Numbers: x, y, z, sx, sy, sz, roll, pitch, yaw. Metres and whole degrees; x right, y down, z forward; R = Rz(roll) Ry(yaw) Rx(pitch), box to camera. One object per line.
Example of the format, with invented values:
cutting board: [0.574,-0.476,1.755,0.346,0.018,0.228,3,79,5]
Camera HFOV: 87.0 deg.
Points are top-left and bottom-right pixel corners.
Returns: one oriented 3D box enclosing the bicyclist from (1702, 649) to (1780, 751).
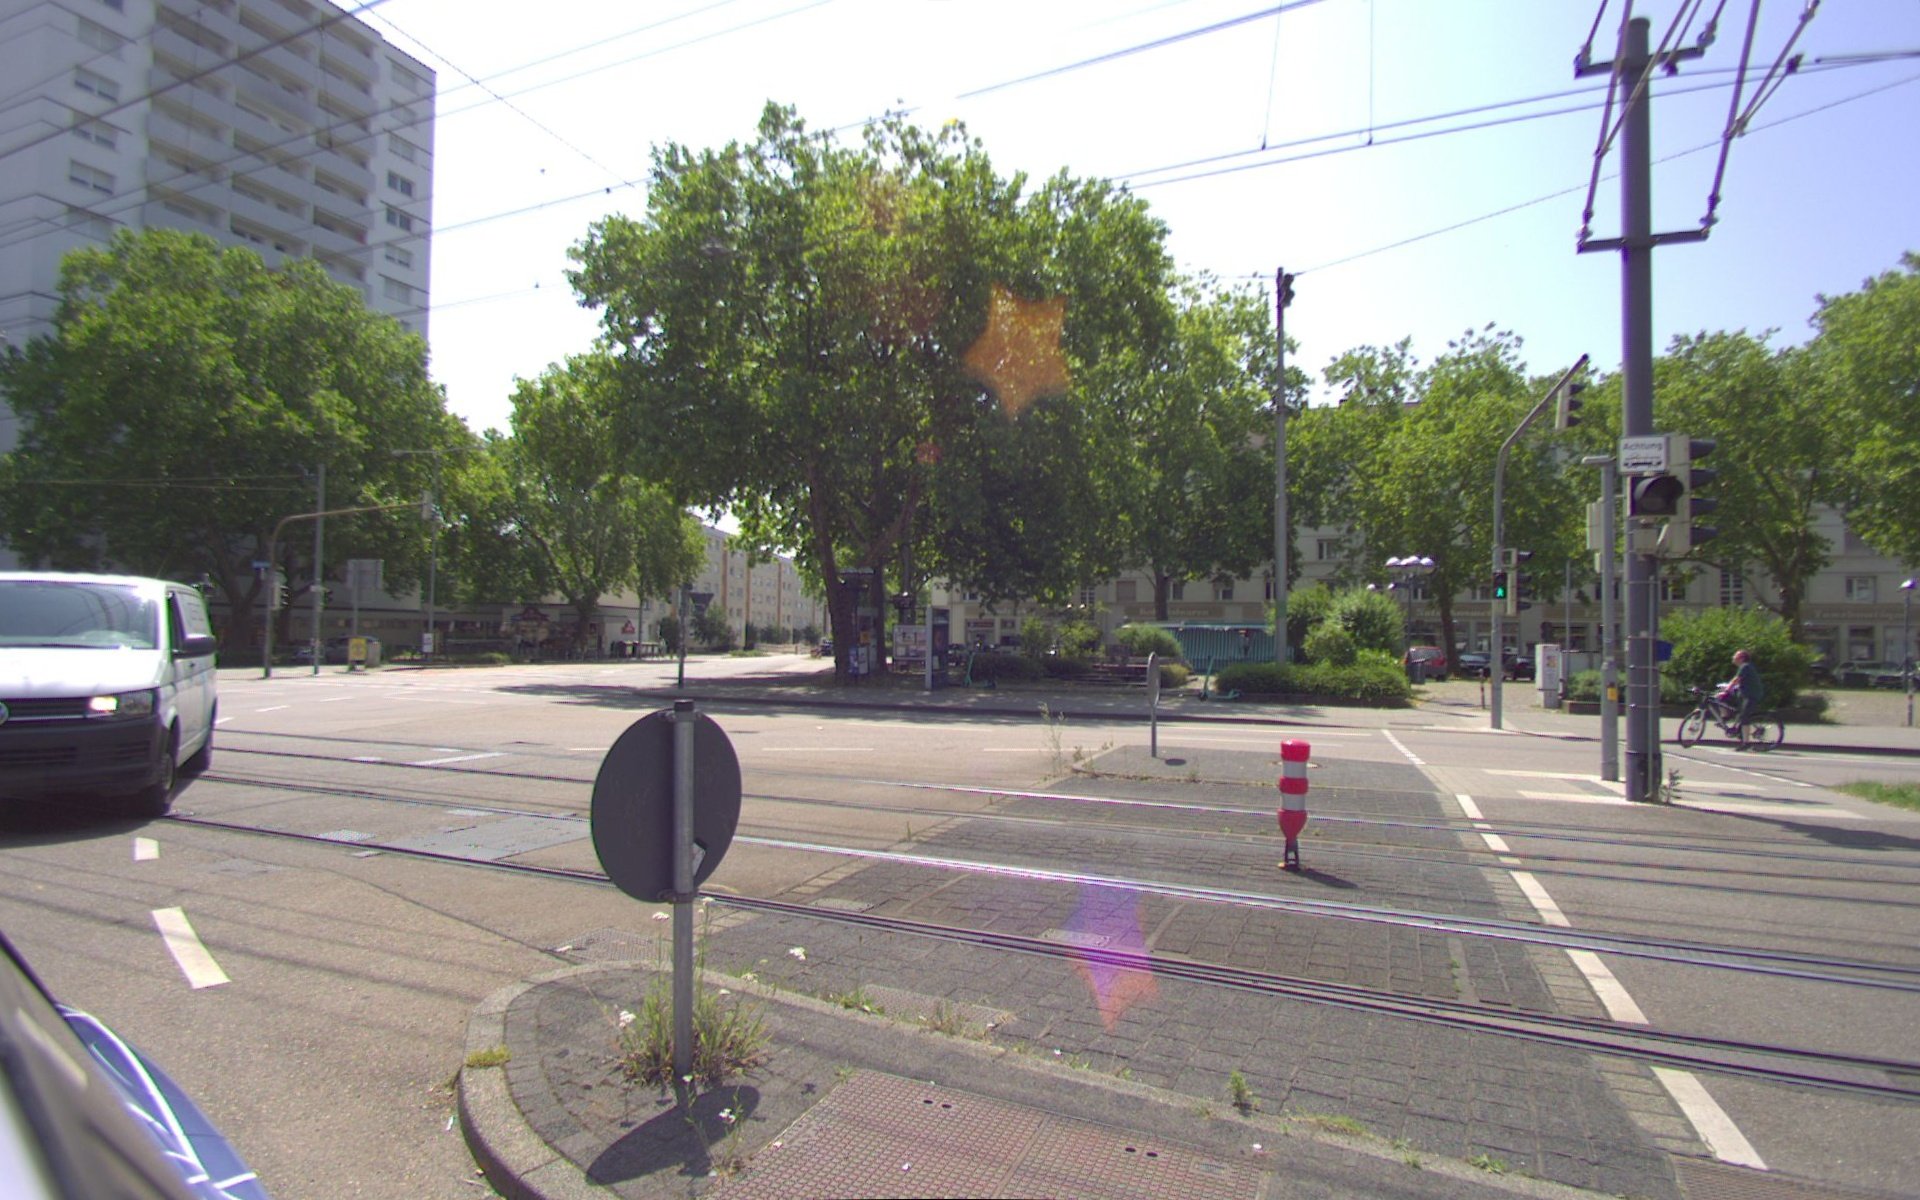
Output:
bicyclist: [13.433,1.701,17.434,0.862,1.698,0.636,0,-2,18]

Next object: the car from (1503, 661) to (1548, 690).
car: [31.635,4.180,56.689,1.610,1.420,3.899,0,-2,21]

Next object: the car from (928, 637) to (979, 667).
car: [-0.407,3.535,69.481,1.989,2.029,3.965,0,-2,26]

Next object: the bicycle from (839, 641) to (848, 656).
bicycle: [-12.509,5.203,108.416,0.589,1.566,1.840,0,-2,5]

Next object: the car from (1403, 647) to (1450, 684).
car: [18.797,2.611,40.874,1.462,1.394,3.321,0,-2,20]

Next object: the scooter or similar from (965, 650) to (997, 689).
scooter or similar: [0.638,2.094,30.484,0.974,1.129,0.254,-1,-2,34]

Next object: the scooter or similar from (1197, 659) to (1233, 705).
scooter or similar: [6.524,2.086,25.880,0.858,1.129,0.254,-1,-2,34]

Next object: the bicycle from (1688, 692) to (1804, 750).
bicycle: [13.423,2.064,17.326,1.471,0.889,0.494,0,-2,19]

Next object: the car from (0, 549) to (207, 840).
car: [-7.919,0.708,8.909,1.822,1.968,4.955,2,-3,-35]

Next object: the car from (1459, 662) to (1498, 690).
car: [29.345,4.296,57.344,1.610,1.420,3.224,0,-2,21]
